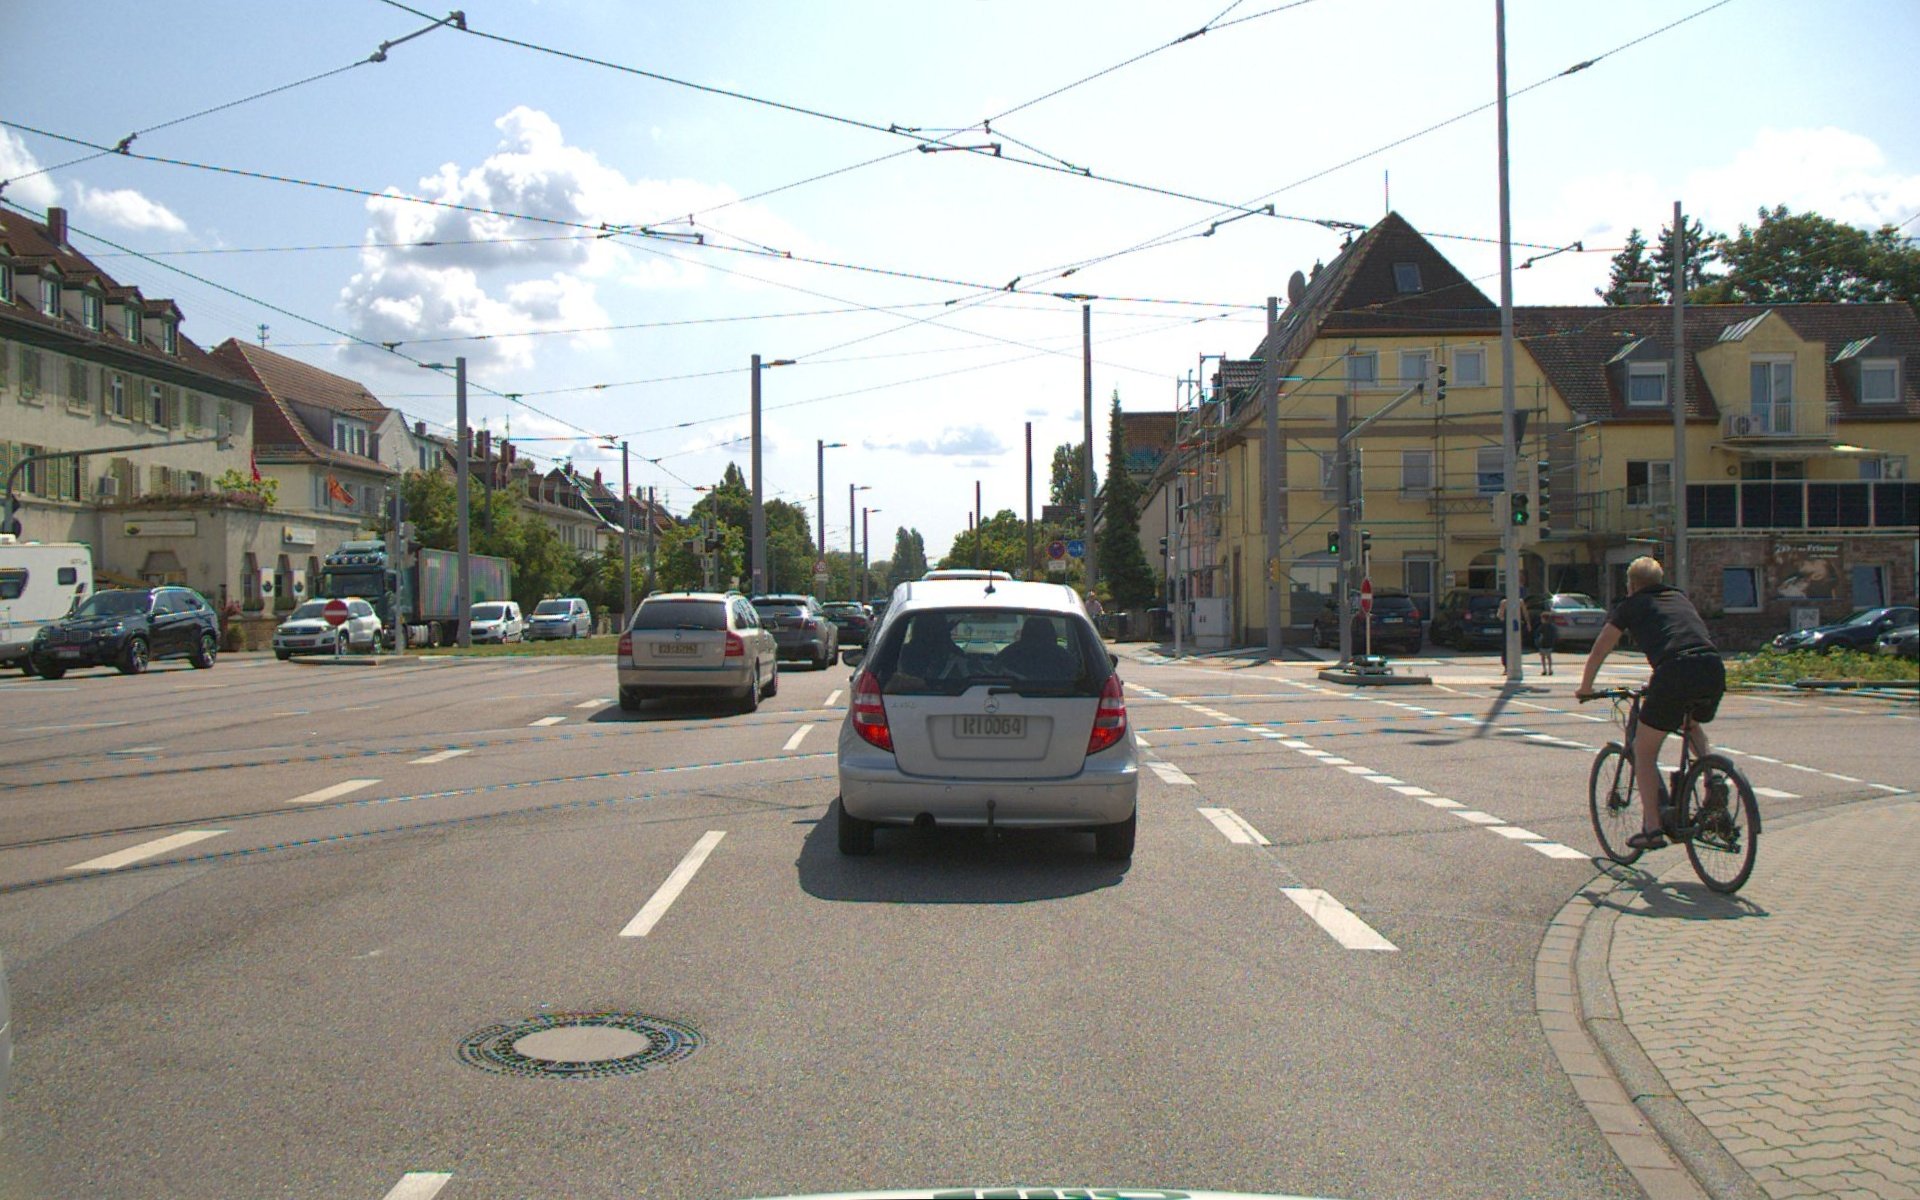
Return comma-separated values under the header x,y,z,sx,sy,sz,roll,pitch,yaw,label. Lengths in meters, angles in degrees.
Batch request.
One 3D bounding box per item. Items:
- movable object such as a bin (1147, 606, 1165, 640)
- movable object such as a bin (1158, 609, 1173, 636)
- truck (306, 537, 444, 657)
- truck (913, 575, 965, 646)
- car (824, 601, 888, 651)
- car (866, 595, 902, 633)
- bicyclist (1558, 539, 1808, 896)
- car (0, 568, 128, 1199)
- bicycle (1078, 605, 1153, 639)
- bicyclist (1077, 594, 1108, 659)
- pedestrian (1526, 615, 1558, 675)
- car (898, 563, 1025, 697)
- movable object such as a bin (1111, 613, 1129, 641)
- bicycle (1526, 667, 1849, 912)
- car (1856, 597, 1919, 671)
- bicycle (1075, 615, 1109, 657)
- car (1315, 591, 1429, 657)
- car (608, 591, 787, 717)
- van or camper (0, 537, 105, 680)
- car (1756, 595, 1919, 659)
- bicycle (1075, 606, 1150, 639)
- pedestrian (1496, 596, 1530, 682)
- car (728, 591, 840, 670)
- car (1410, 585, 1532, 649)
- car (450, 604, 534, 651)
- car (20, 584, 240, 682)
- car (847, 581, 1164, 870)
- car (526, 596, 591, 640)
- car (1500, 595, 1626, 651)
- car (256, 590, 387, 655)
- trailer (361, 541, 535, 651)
x,y,z,sx,sy,sz,roll,pitch,yaw,label
6.451,0.760,54.488,0.501,1.124,0.855,0,-1,0,movable object such as a bin
7.473,0.807,60.274,0.458,0.963,0.558,-1,-1,-1,movable object such as a bin
-20.601,-0.127,58.583,2.545,3.887,5.669,-3,0,2,truck
-0.842,0.412,63.915,1.815,2.597,5.852,1,-1,-2,truck
-3.100,0.773,50.010,1.815,1.413,4.512,1,-1,-2,car
-3.932,0.727,85.976,1.815,1.875,3.916,1,-1,-2,car
3.957,0.606,9.145,0.812,1.825,1.083,-2,0,-4,bicyclist
-2.758,0.697,1.460,1.758,1.497,4.720,0,0,-2,car
5.608,0.803,59.804,2.608,1.124,0.786,-2,-1,-2,bicycle
3.651,0.737,45.700,0.638,1.768,0.982,1,-1,-7,bicyclist
11.363,0.883,32.309,0.478,1.156,0.389,1,-1,-1,pedestrian
0.037,0.433,24.405,1.694,1.793,4.016,1,-1,0,car
5.267,0.888,54.362,0.501,0.934,0.741,0,-1,0,movable object such as a bin
3.961,0.980,9.218,0.812,1.094,1.970,-2,0,-3,bicycle
19.802,0.591,31.788,4.230,1.352,1.738,-2,-1,-4,car
3.642,0.989,45.749,0.638,1.137,1.585,1,-1,-7,bicycle
10.802,0.634,43.689,1.953,1.624,4.130,1,-1,0,car
-3.332,0.629,21.709,1.696,1.474,4.123,1,0,-1,car
-21.044,0.185,34.521,2.276,2.981,7.755,-1,0,1,van or camper
19.796,0.596,35.900,4.230,1.331,1.738,1,-1,-4,car
5.572,0.820,60.554,2.671,1.139,0.691,-2,-1,-2,bicycle
10.789,0.757,32.295,0.535,1.672,0.401,1,-1,4,pedestrian
-3.552,0.603,34.173,1.877,1.503,4.561,1,-1,-1,car
13.599,0.462,44.255,1.953,1.624,4.130,1,-1,0,car
-17.428,1.015,61.771,1.757,1.665,4.471,-2,-1,1,car
-17.147,0.636,34.498,1.952,1.807,4.879,-2,0,2,car
0.153,0.660,10.932,1.695,1.543,4.014,1,1,-3,car
-17.593,0.800,72.648,1.758,1.847,4.711,-2,-1,-1,car
15.981,0.612,44.049,1.829,1.375,4.130,1,-1,0,car
-17.630,0.614,45.878,1.953,1.579,4.177,-4,-1,0,car
-20.382,-0.203,66.902,2.545,3.887,12.839,-3,0,1,trailer
